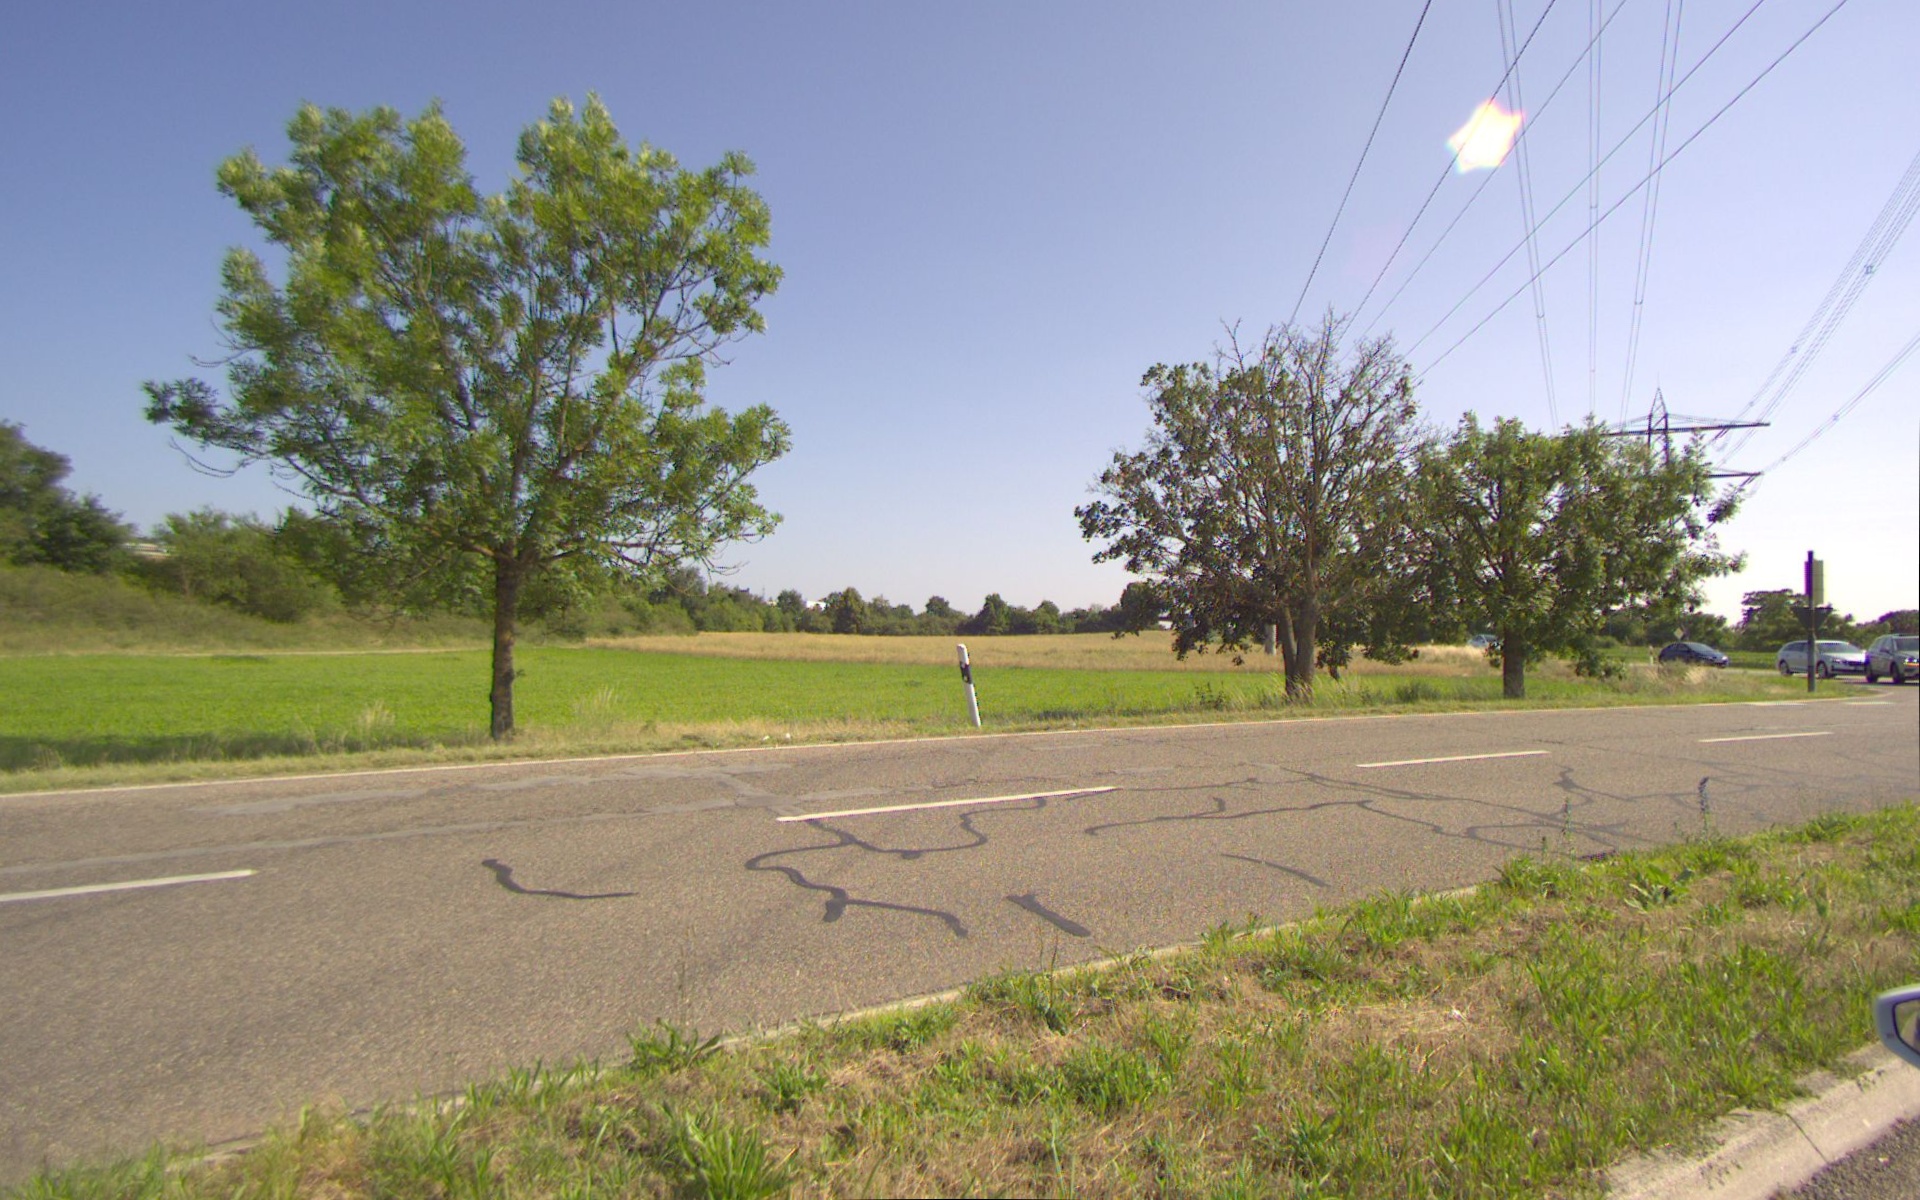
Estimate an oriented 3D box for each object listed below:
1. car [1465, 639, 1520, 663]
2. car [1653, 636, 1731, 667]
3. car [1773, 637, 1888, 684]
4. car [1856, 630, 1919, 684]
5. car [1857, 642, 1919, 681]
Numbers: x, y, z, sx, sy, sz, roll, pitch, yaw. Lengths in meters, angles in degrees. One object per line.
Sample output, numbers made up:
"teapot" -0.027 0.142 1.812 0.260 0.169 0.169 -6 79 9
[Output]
"car" 40.311 3.817 76.159 1.784 1.673 4.763 1 -1 2
"car" 42.846 2.999 58.909 1.784 1.673 4.002 1 -1 2
"car" 33.881 2.327 39.244 1.783 1.673 4.003 1 -2 14
"car" 31.368 1.857 33.105 1.787 1.673 3.995 0 -2 27
"car" 42.528 2.731 44.692 1.784 1.673 4.002 1 -1 2
